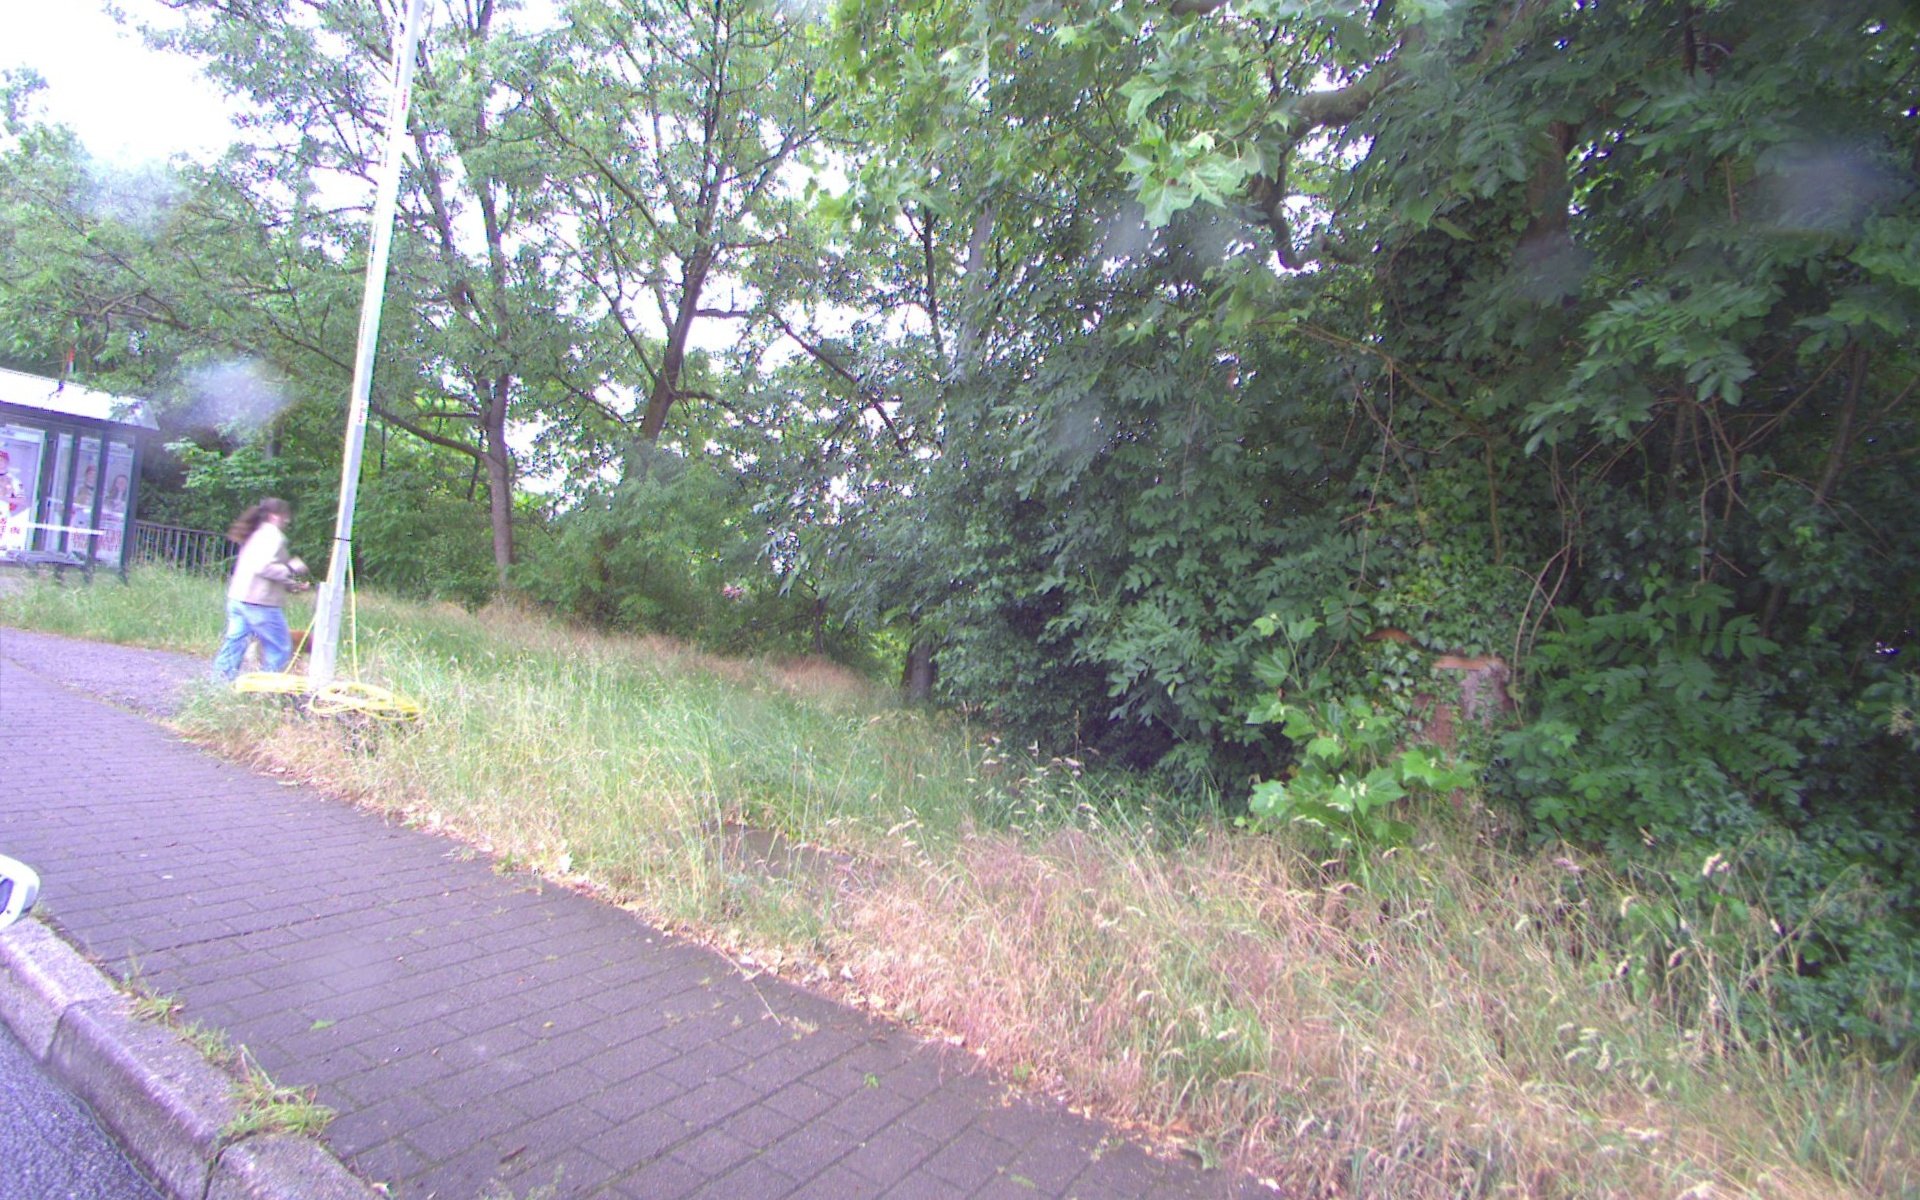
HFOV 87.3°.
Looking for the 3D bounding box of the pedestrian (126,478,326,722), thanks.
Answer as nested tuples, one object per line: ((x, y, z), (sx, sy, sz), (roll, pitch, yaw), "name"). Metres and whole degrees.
((-5.295, 0.013, 7.285), (0.719, 1.622, 0.752), (7, -1, 25), "pedestrian")
